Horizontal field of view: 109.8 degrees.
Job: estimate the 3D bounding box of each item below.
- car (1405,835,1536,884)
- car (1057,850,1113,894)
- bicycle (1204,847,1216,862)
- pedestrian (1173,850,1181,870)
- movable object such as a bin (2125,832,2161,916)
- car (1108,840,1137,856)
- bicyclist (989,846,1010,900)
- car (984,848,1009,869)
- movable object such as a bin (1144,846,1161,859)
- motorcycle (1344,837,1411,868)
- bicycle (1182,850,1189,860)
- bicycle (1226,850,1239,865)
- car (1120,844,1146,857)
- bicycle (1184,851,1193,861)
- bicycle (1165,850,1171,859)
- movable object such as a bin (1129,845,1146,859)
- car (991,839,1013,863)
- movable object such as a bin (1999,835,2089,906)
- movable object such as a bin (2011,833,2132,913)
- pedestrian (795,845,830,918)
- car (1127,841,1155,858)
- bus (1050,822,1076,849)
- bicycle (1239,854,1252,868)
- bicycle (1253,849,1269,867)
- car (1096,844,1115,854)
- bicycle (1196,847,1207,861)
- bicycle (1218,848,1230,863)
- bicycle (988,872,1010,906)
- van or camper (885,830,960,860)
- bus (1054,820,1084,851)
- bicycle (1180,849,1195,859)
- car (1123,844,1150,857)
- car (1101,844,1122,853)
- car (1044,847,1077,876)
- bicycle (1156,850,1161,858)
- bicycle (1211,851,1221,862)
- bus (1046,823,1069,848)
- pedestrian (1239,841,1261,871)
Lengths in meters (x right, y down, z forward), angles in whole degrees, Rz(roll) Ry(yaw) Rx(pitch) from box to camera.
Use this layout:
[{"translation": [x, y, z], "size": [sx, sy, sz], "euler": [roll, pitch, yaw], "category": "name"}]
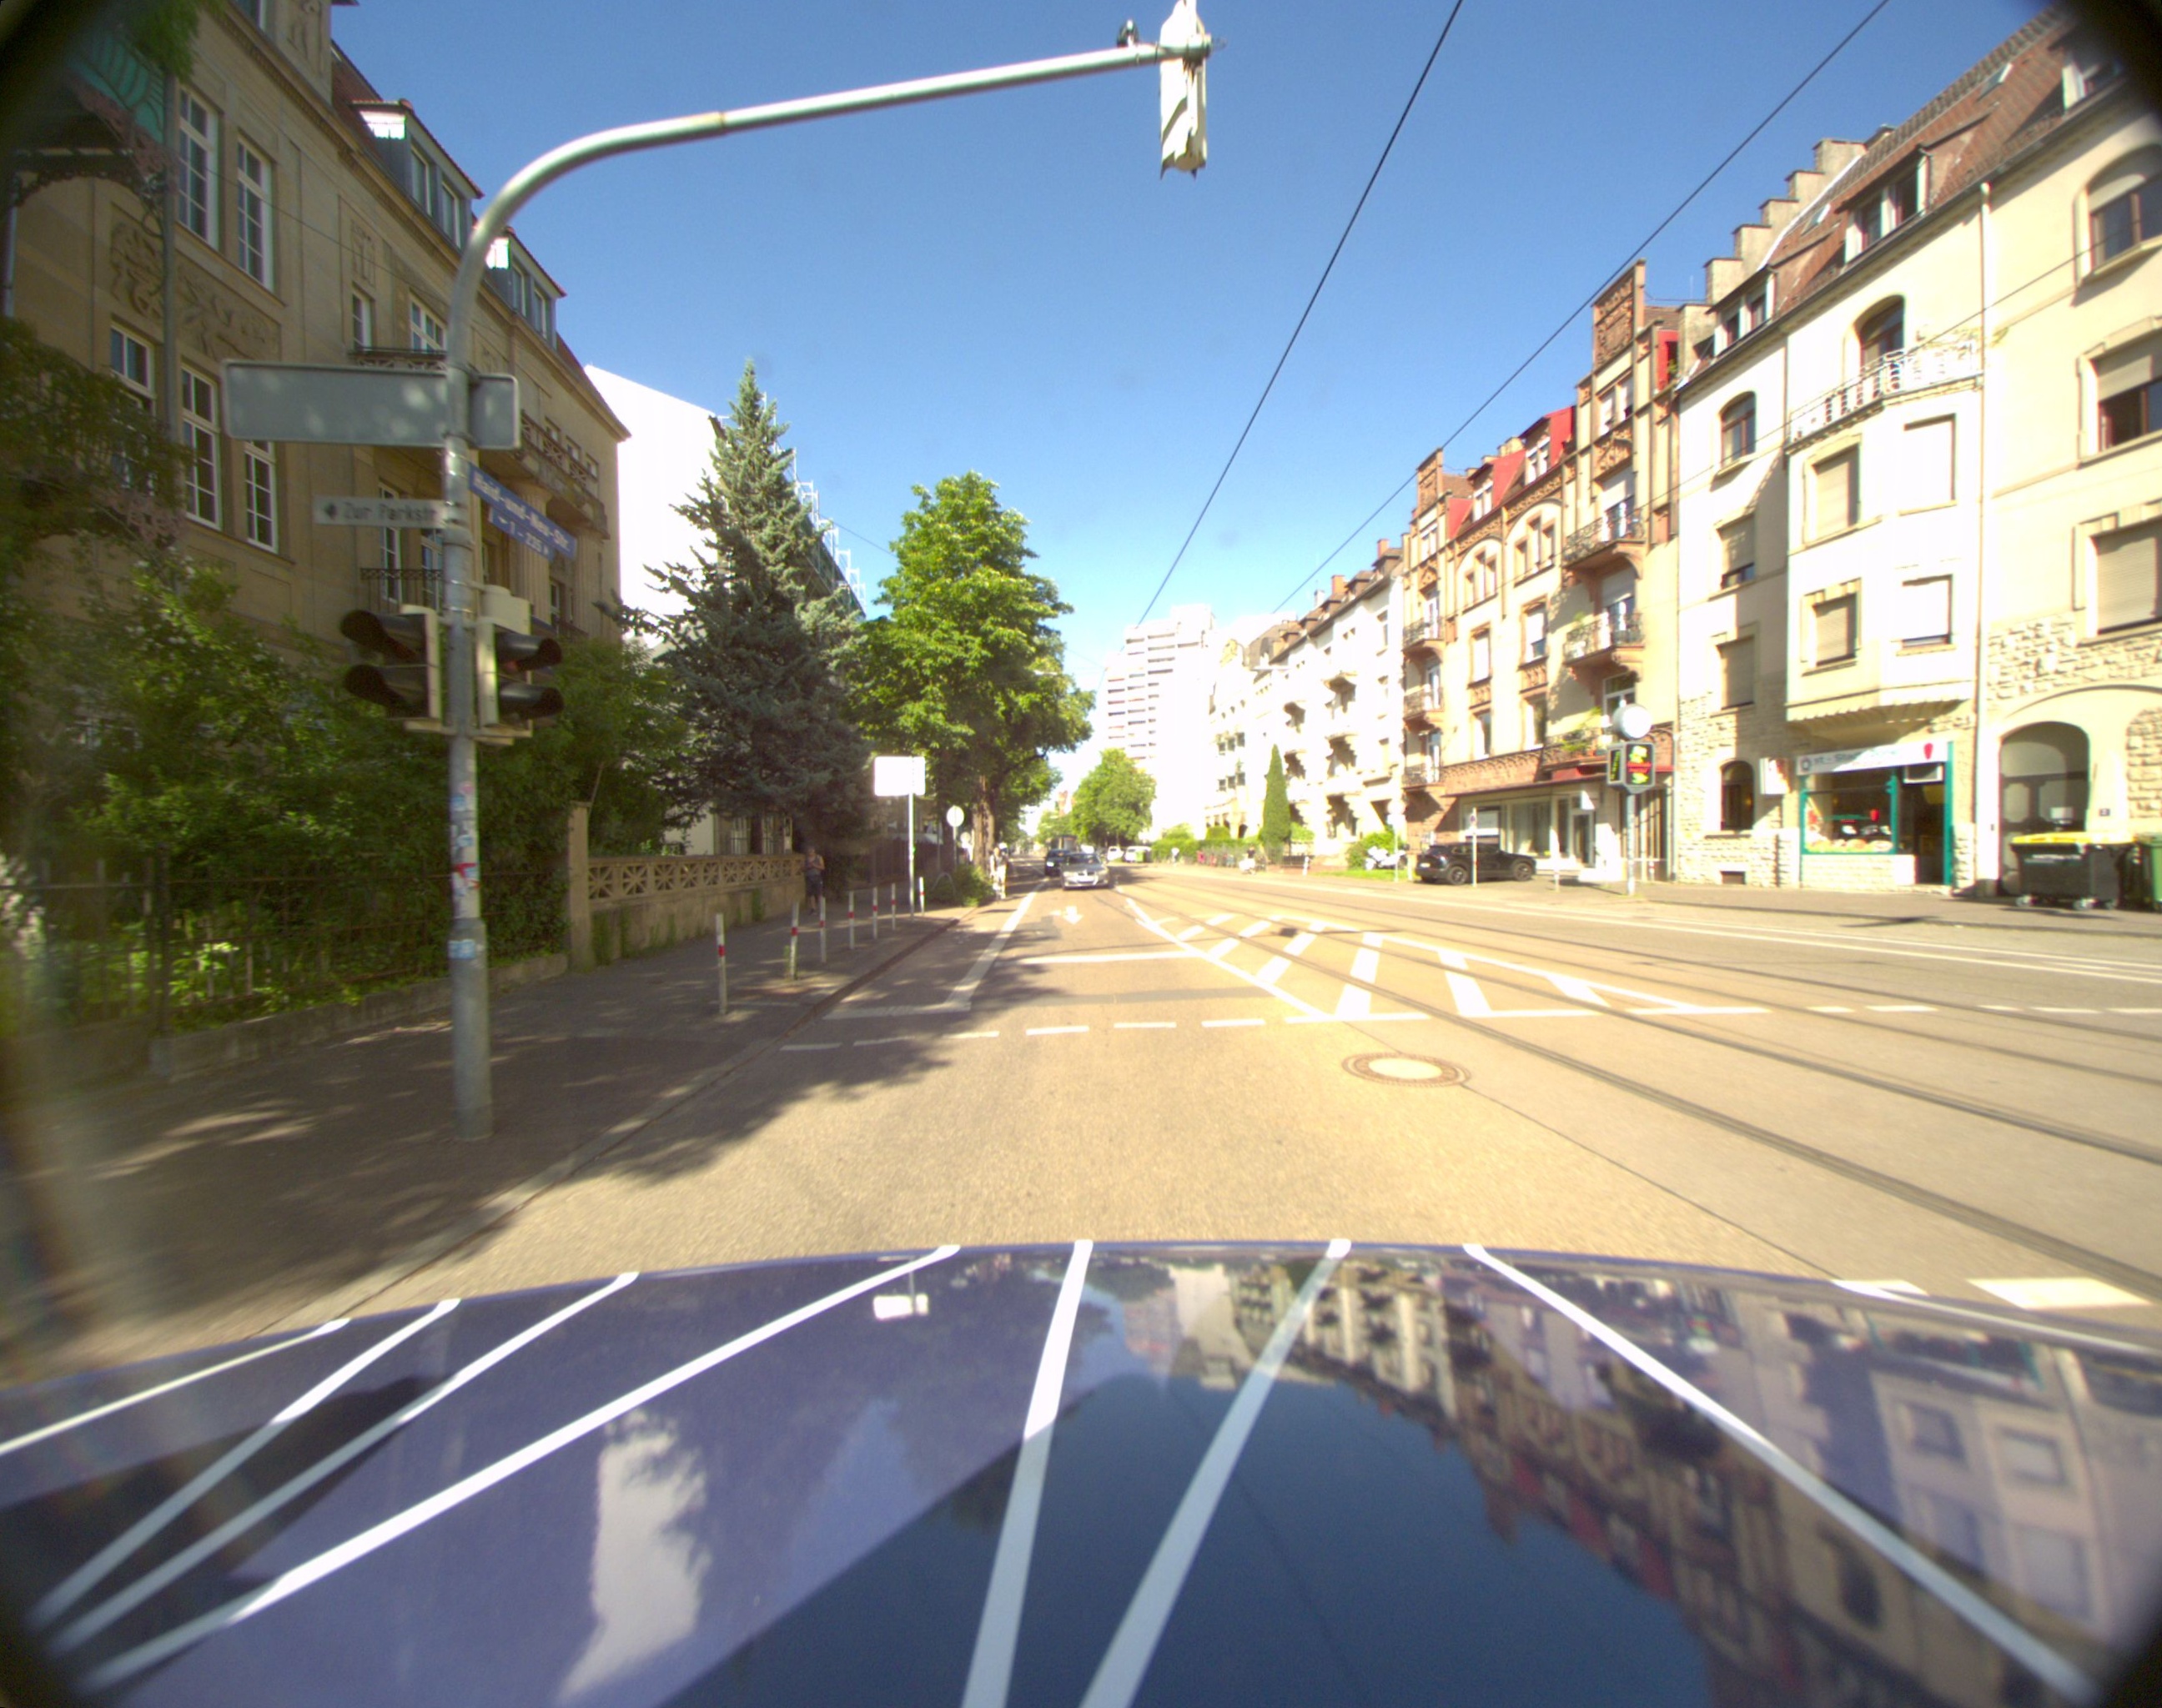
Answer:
[{"translation": [14.322, 0.169, 28.008], "size": [4.000, 1.494, 1.770], "euler": [-4, 2, -10], "category": "car"}, {"translation": [0.084, 0.631, 28.896], "size": [1.870, 1.426, 3.998], "euler": [-2, 2, -3], "category": "car"}, {"translation": [9.464, 0.031, 55.815], "size": [0.405, 1.018, 1.815], "euler": [-2, 2, -3], "category": "bicycle"}, {"translation": [7.896, 0.478, 62.379], "size": [0.476, 1.619, 0.659], "euler": [-2, 2, -3], "category": "pedestrian"}, {"translation": [18.543, 0.327, 12.747], "size": [1.024, 1.373, 0.859], "euler": [0, 3, 41], "category": "movable object such as a bin"}, {"translation": [5.378, -0.749, 98.032], "size": [1.917, 1.860, 3.449], "euler": [0, 2, 42], "category": "car"}, {"translation": [-2.572, 0.589, 24.048], "size": [0.532, 1.660, 0.877], "euler": [-2, 2, -3], "category": "bicyclist"}, {"translation": [-6.640, 0.316, 59.551], "size": [1.878, 1.534, 4.362], "euler": [0, 1, -7], "category": "car"}, {"translation": [7.685, -0.183, 82.265], "size": [1.501, 1.309, 2.095], "euler": [-2, 2, -3], "category": "movable object such as a bin"}, {"translation": [15.122, -0.084, 38.783], "size": [3.094, 1.448, 0.823], "euler": [-2, 2, -6], "category": "motorcycle"}, {"translation": [8.793, 0.088, 64.054], "size": [0.339, 0.757, 1.262], "euler": [-2, 2, -3], "category": "bicycle"}, {"translation": [10.036, 0.233, 50.271], "size": [0.405, 0.937, 1.748], "euler": [-2, 2, -3], "category": "bicycle"}, {"translation": [6.226, -0.480, 90.990], "size": [2.758, 1.427, 1.457], "euler": [-3, 2, -20], "category": "car"}, {"translation": [8.875, 0.192, 62.558], "size": [0.405, 0.757, 1.581], "euler": [-2, 2, -3], "category": "bicycle"}, {"translation": [8.118, 0.034, 70.766], "size": [0.297, 0.757, 1.262], "euler": [-2, 2, -3], "category": "bicycle"}, {"translation": [6.041, -0.201, 81.182], "size": [1.513, 1.424, 2.095], "euler": [-2, 2, -3], "category": "movable object such as a bin"}, {"translation": [-8.147, -0.396, 77.736], "size": [2.133, 2.329, 5.800], "euler": [0, 1, -6], "category": "car"}, {"translation": [18.623, 0.309, 14.707], "size": [0.856, 1.318, 0.657], "euler": [-2, 2, 8], "category": "movable object such as a bin"}, {"translation": [17.997, 0.326, 13.837], "size": [0.856, 1.373, 1.028], "euler": [-2, 2, 8], "category": "movable object such as a bin"}, {"translation": [-6.207, 0.629, 17.592], "size": [0.593, 1.662, 0.646], "euler": [1, 2, -3], "category": "pedestrian"}, {"translation": [6.697, -0.475, 84.631], "size": [1.456, 1.763, 3.194], "euler": [0, -1, 41], "category": "car"}, {"translation": [-2.789, -2.724, 111.308], "size": [2.868, 3.756, 11.174], "euler": [-2, 2, -5], "category": "bus"}, {"translation": [10.176, 0.428, 46.955], "size": [0.318, 0.757, 1.651], "euler": [-2, 2, -3], "category": "bicycle"}, {"translation": [10.590, 0.228, 44.785], "size": [0.405, 1.033, 1.748], "euler": [-2, 2, -3], "category": "bicycle"}, {"translation": [3.793, -0.846, 117.743], "size": [2.758, 1.418, 1.225], "euler": [-3, 2, -20], "category": "car"}, {"translation": [9.234, -0.032, 58.112], "size": [0.405, 1.018, 1.815], "euler": [-2, 2, -3], "category": "bicycle"}, {"translation": [9.829, 0.088, 52.294], "size": [0.405, 0.937, 1.648], "euler": [-2, 2, -3], "category": "bicycle"}, {"translation": [-2.567, 1.072, 24.037], "size": [0.535, 0.917, 2.056], "euler": [-2, 2, -2], "category": "bicycle"}, {"translation": [-14.916, -0.822, 71.669], "size": [6.722, 2.612, 2.125], "euler": [-1, 2, 20], "category": "van or camper"}, {"translation": [-1.743, -2.445, 99.674], "size": [2.858, 3.756, 12.188], "euler": [-2, 2, -5], "category": "bus"}, {"translation": [9.388, -0.006, 67.245], "size": [1.262, 0.789, 0.297], "euler": [-2, 2, -3], "category": "bicycle"}, {"translation": [6.375, -0.393, 87.602], "size": [2.758, 1.427, 1.457], "euler": [-3, 2, -20], "category": "car"}, {"translation": [4.382, -0.798, 110.569], "size": [2.758, 1.083, 1.225], "euler": [-3, 2, -20], "category": "car"}, {"translation": [-1.277, 0.410, 45.307], "size": [1.829, 1.559, 3.998], "euler": [-2, 2, -3], "category": "car"}, {"translation": [7.659, -0.024, 75.495], "size": [0.297, 0.757, 1.262], "euler": [-2, 2, -3], "category": "bicycle"}, {"translation": [9.594, 0.174, 54.074], "size": [0.318, 0.757, 1.542], "euler": [-2, 2, -3], "category": "bicycle"}, {"translation": [-3.918, -2.994, 122.698], "size": [2.868, 3.756, 11.489], "euler": [-2, 2, -5], "category": "bus"}, {"translation": [9.597, 0.099, 43.111], "size": [0.869, 1.619, 0.870], "euler": [-6, 2, -3], "category": "pedestrian"}]
